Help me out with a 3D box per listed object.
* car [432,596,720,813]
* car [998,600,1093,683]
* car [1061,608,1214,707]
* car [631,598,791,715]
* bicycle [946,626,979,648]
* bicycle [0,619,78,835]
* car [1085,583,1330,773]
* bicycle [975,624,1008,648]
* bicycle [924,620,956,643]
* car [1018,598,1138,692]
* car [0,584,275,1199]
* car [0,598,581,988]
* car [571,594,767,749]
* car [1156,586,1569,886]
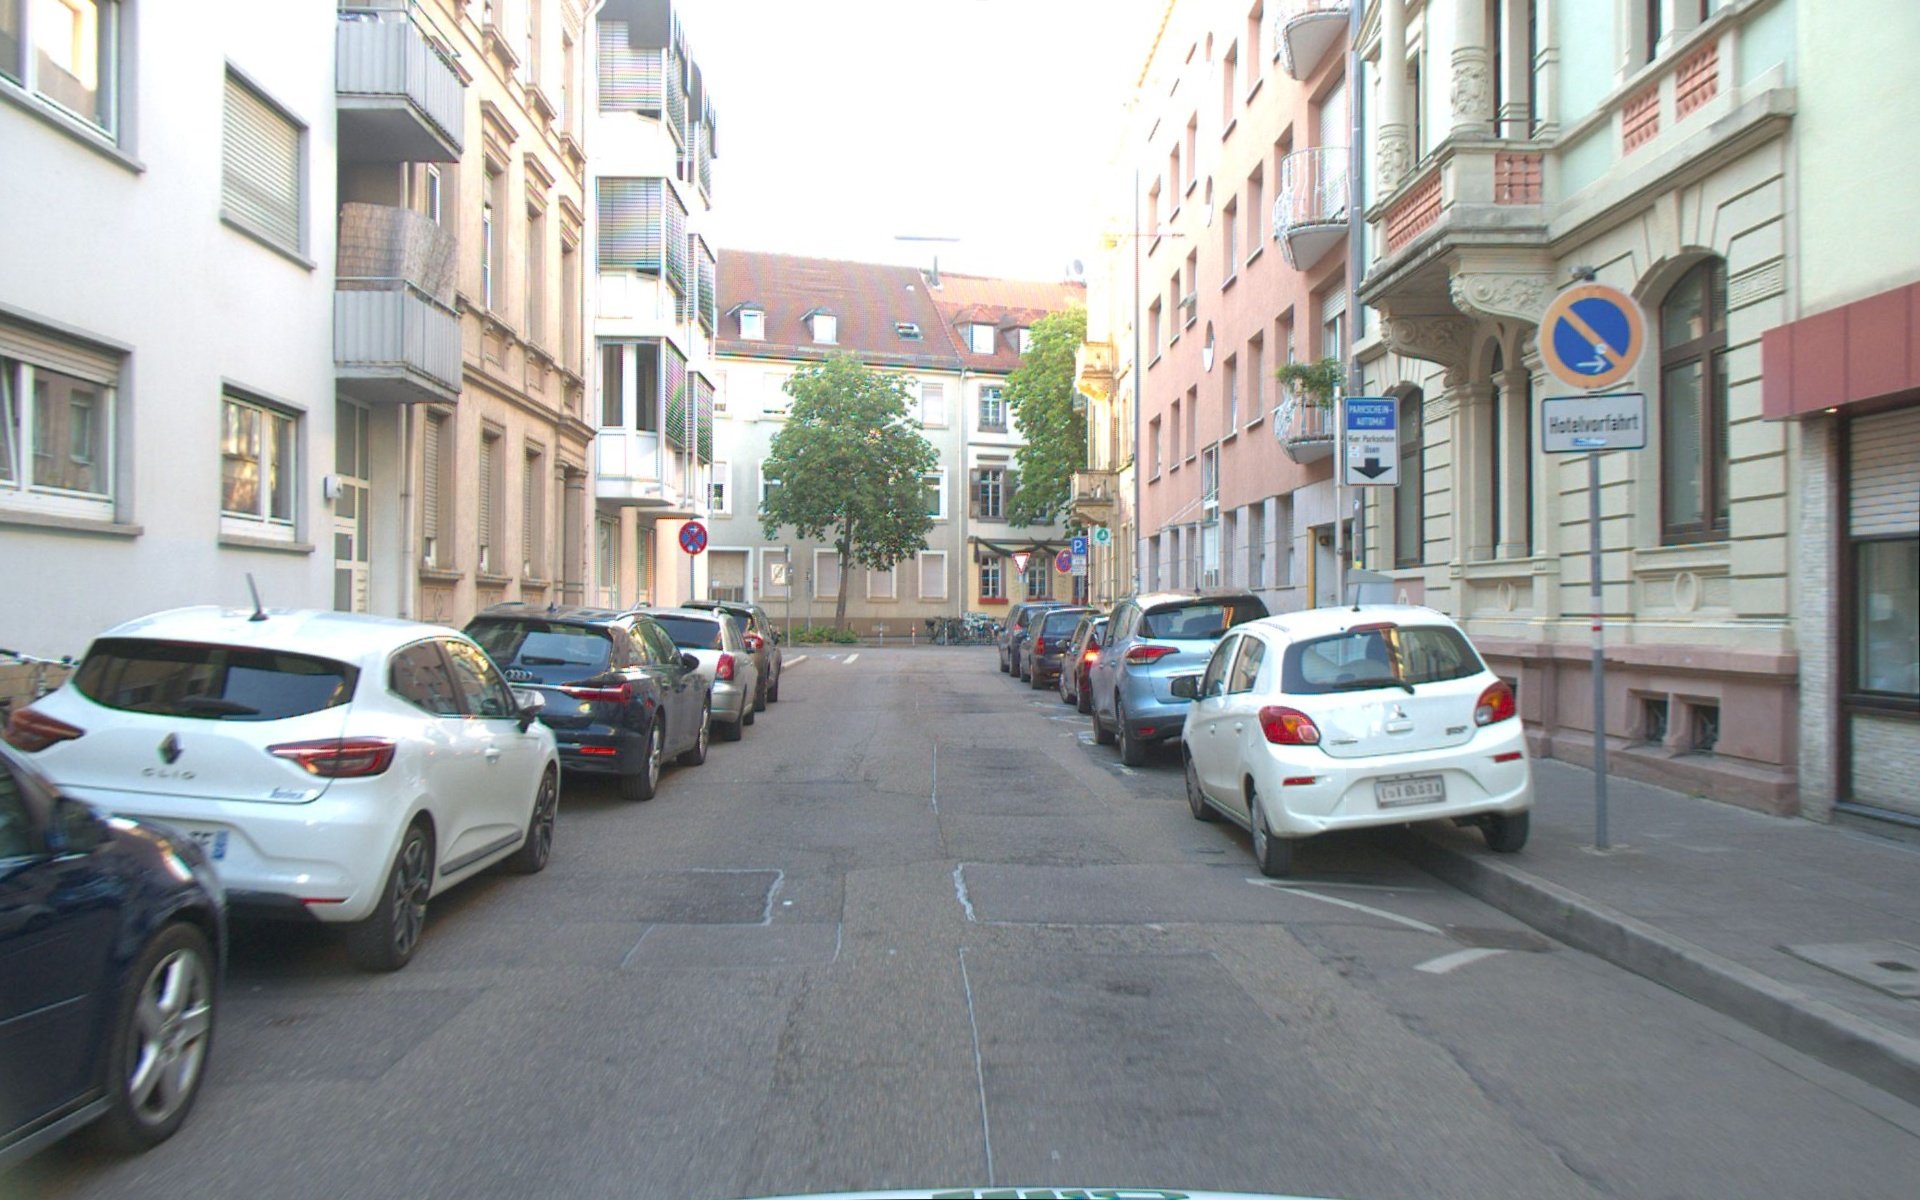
[{"bbox_3d":[-3.133,0.762,14.317,1.582,1.598,4.302,0,0,-1],"label":"car"},{"bbox_3d":[1.906,0.921,38.125,1.953,1.792,3.999,0,0,0],"label":"car"},{"bbox_3d":[2.685,0.893,25.824,1.953,1.408,3.705,0,-2,0],"label":"car"},{"bbox_3d":[-3.844,0.849,26.186,1.953,1.692,3.976,0,-1,0],"label":"car"},{"bbox_3d":[0.095,1.523,68.504,0.513,0.910,1.704,1,-1,-34],"label":"bicycle"},{"bbox_3d":[-5.709,0.731,9.214,0.512,1.221,2.122,-1,0,-2],"label":"bicycle"},{"bbox_3d":[2.462,0.741,17.466,1.953,1.763,4.058,0,0,-1],"label":"car"},{"bbox_3d":[1.305,1.490,69.180,0.513,0.965,1.704,-1,0,-34],"label":"bicycle"},{"bbox_3d":[-0.856,1.343,69.945,0.513,0.965,1.704,1,-2,-34],"label":"bicycle"},{"bbox_3d":[2.283,0.855,33.039,1.953,1.738,3.998,0,0,-2],"label":"car"},{"bbox_3d":[-2.949,0.734,3.232,1.693,1.535,3.829,0,0,-1],"label":"car"},{"bbox_3d":[-3.092,0.742,8.269,1.597,1.498,3.753,0,0,-1],"label":"car"},{"bbox_3d":[-3.454,0.798,20.393,1.954,1.696,4.405,0,0,-5],"label":"car"},{"bbox_3d":[2.445,0.743,10.997,1.629,1.483,3.758,-6,0,-1],"label":"car"}]
